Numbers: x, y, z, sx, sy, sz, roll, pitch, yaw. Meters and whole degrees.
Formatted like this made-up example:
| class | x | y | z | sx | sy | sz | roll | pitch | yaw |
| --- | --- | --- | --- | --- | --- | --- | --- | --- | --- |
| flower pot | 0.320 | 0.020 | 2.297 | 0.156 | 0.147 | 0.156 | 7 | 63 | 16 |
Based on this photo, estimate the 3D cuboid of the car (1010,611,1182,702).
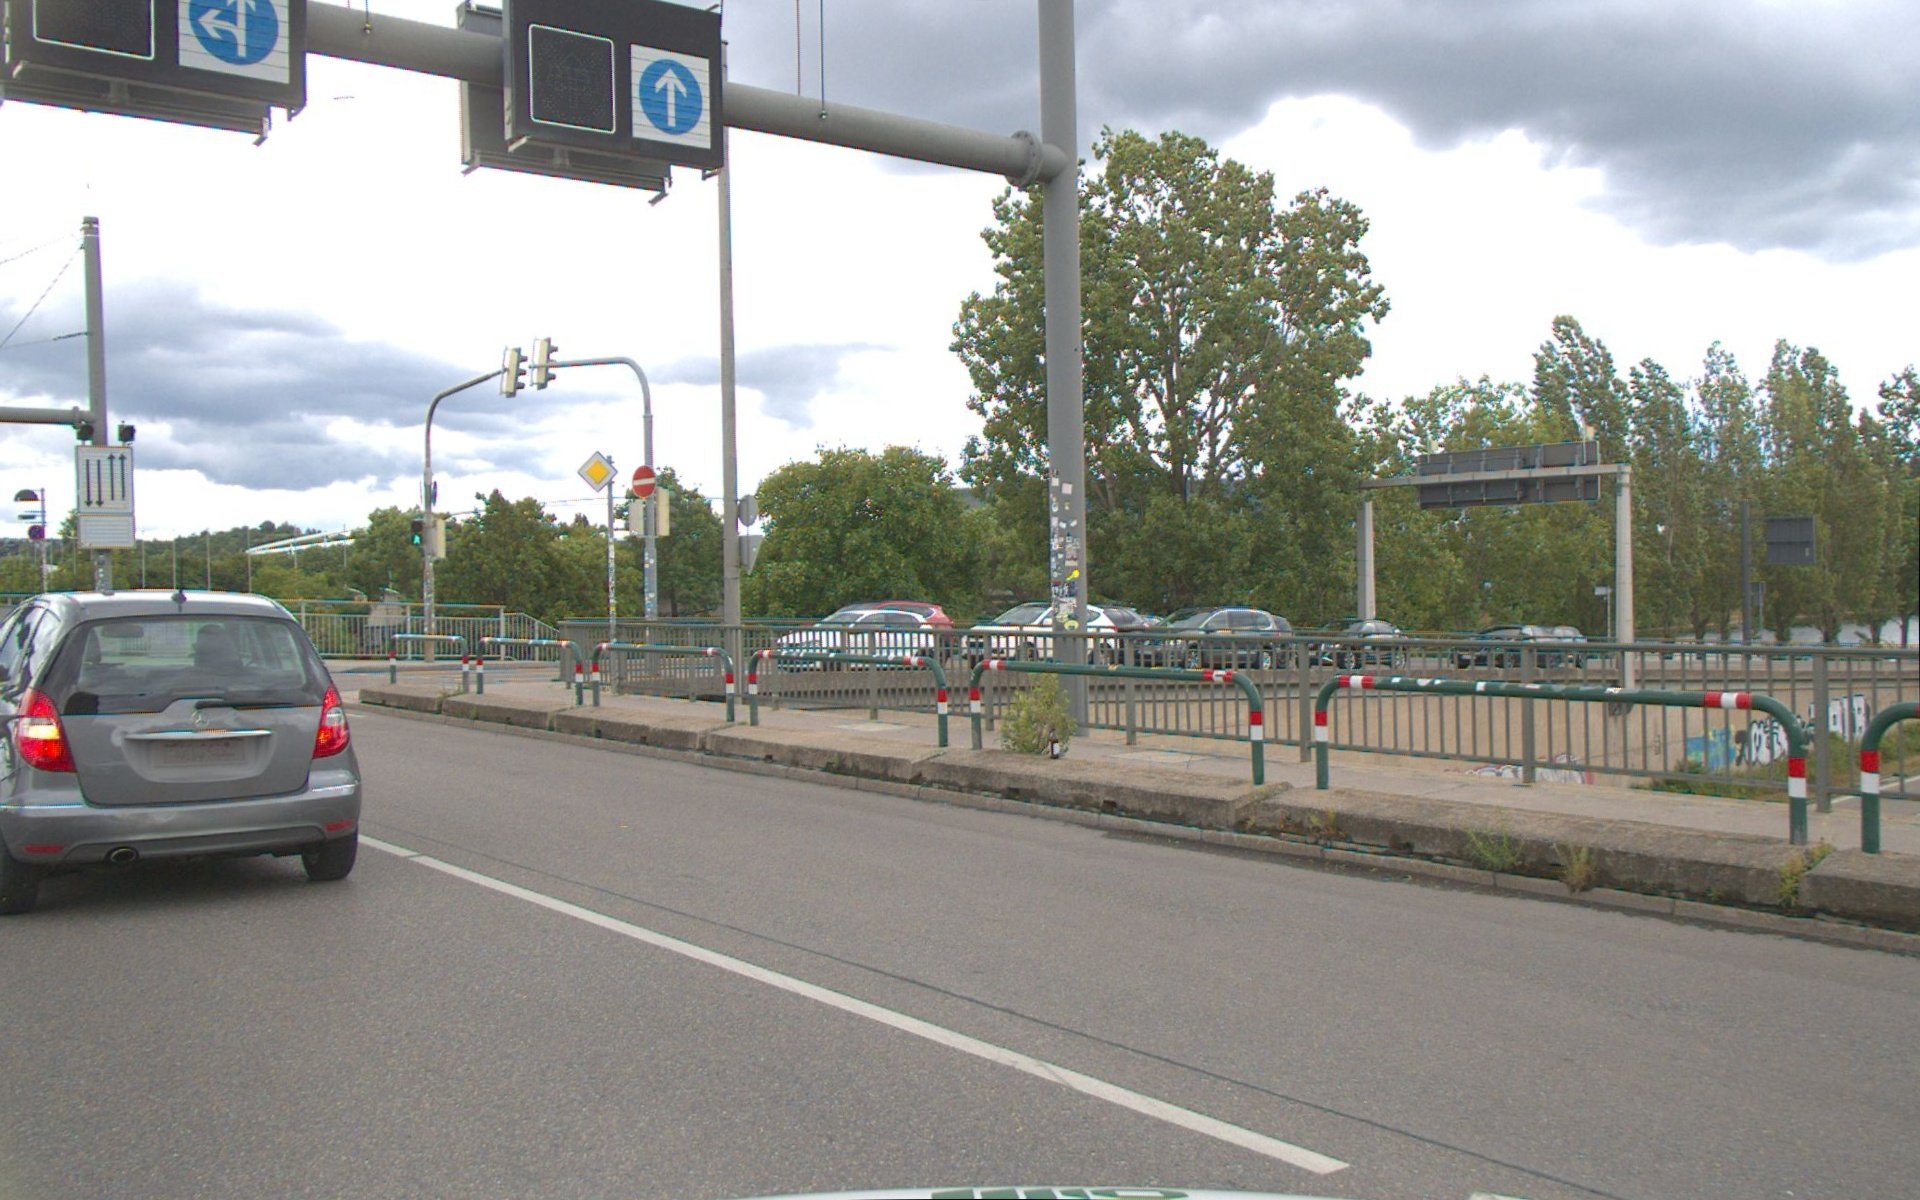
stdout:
| class | x | y | z | sx | sy | sz | roll | pitch | yaw |
| --- | --- | --- | --- | --- | --- | --- | --- | --- | --- |
| car | 3.786 | 1.505 | 45.621 | 4.504 | 2.048 | 2.181 | -5 | 3 | -40 |

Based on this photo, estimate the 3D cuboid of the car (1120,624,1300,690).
| class | x | y | z | sx | sy | sz | roll | pitch | yaw |
| --- | --- | --- | --- | --- | --- | --- | --- | --- | --- |
| car | 6.681 | 1.481 | 43.907 | 4.916 | 1.648 | 1.971 | 1 | -2 | -40 |

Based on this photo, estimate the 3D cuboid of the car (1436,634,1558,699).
| class | x | y | z | sx | sy | sz | roll | pitch | yaw |
| --- | --- | --- | --- | --- | --- | --- | --- | --- | --- |
| car | 17.552 | 2.119 | 53.969 | 3.964 | 1.645 | 1.971 | -6 | 4 | -40 |

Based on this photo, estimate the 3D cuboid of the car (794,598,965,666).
| class | x | y | z | sx | sy | sz | roll | pitch | yaw |
| --- | --- | --- | --- | --- | --- | --- | --- | --- | --- |
| car | -1.900 | 0.775 | 39.752 | 3.972 | 1.567 | 1.670 | 1 | -2 | -41 |

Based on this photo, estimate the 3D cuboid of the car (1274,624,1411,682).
| class | x | y | z | sx | sy | sz | roll | pitch | yaw |
| --- | --- | --- | --- | --- | --- | --- | --- | --- | --- |
| car | 11.280 | 1.542 | 48.697 | 3.963 | 1.646 | 1.971 | 1 | -2 | -40 |

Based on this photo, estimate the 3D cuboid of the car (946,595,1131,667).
| class | x | y | z | sx | sy | sz | roll | pitch | yaw |
| --- | --- | --- | --- | --- | --- | --- | --- | --- | --- |
| car | 1.927 | 0.765 | 40.057 | 4.301 | 1.648 | 1.971 | 1 | -2 | -40 |

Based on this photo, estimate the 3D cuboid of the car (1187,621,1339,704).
| class | x | y | z | sx | sy | sz | roll | pitch | yaw |
| --- | --- | --- | --- | --- | --- | --- | --- | --- | --- |
| car | 9.271 | 1.857 | 50.410 | 4.504 | 2.048 | 2.181 | -5 | 3 | -40 |

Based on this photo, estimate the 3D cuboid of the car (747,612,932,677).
| class | x | y | z | sx | sy | sz | roll | pitch | yaw |
| --- | --- | --- | --- | --- | --- | --- | --- | --- | --- |
| car | -2.586 | 0.958 | 35.899 | 3.731 | 1.336 | 1.764 | 1 | -2 | -41 |

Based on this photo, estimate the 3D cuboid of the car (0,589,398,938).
| class | x | y | z | sx | sy | sz | roll | pitch | yaw |
| --- | --- | --- | --- | --- | --- | --- | --- | --- | --- |
| car | -4.801 | 0.743 | 9.586 | 1.734 | 1.577 | 3.817 | -1 | 0 | -39 |

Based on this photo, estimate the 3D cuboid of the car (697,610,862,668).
| class | x | y | z | sx | sy | sz | roll | pitch | yaw |
| --- | --- | --- | --- | --- | --- | --- | --- | --- | --- |
| car | -4.675 | 1.020 | 43.132 | 4.117 | 1.445 | 1.670 | 1 | -2 | -42 |
